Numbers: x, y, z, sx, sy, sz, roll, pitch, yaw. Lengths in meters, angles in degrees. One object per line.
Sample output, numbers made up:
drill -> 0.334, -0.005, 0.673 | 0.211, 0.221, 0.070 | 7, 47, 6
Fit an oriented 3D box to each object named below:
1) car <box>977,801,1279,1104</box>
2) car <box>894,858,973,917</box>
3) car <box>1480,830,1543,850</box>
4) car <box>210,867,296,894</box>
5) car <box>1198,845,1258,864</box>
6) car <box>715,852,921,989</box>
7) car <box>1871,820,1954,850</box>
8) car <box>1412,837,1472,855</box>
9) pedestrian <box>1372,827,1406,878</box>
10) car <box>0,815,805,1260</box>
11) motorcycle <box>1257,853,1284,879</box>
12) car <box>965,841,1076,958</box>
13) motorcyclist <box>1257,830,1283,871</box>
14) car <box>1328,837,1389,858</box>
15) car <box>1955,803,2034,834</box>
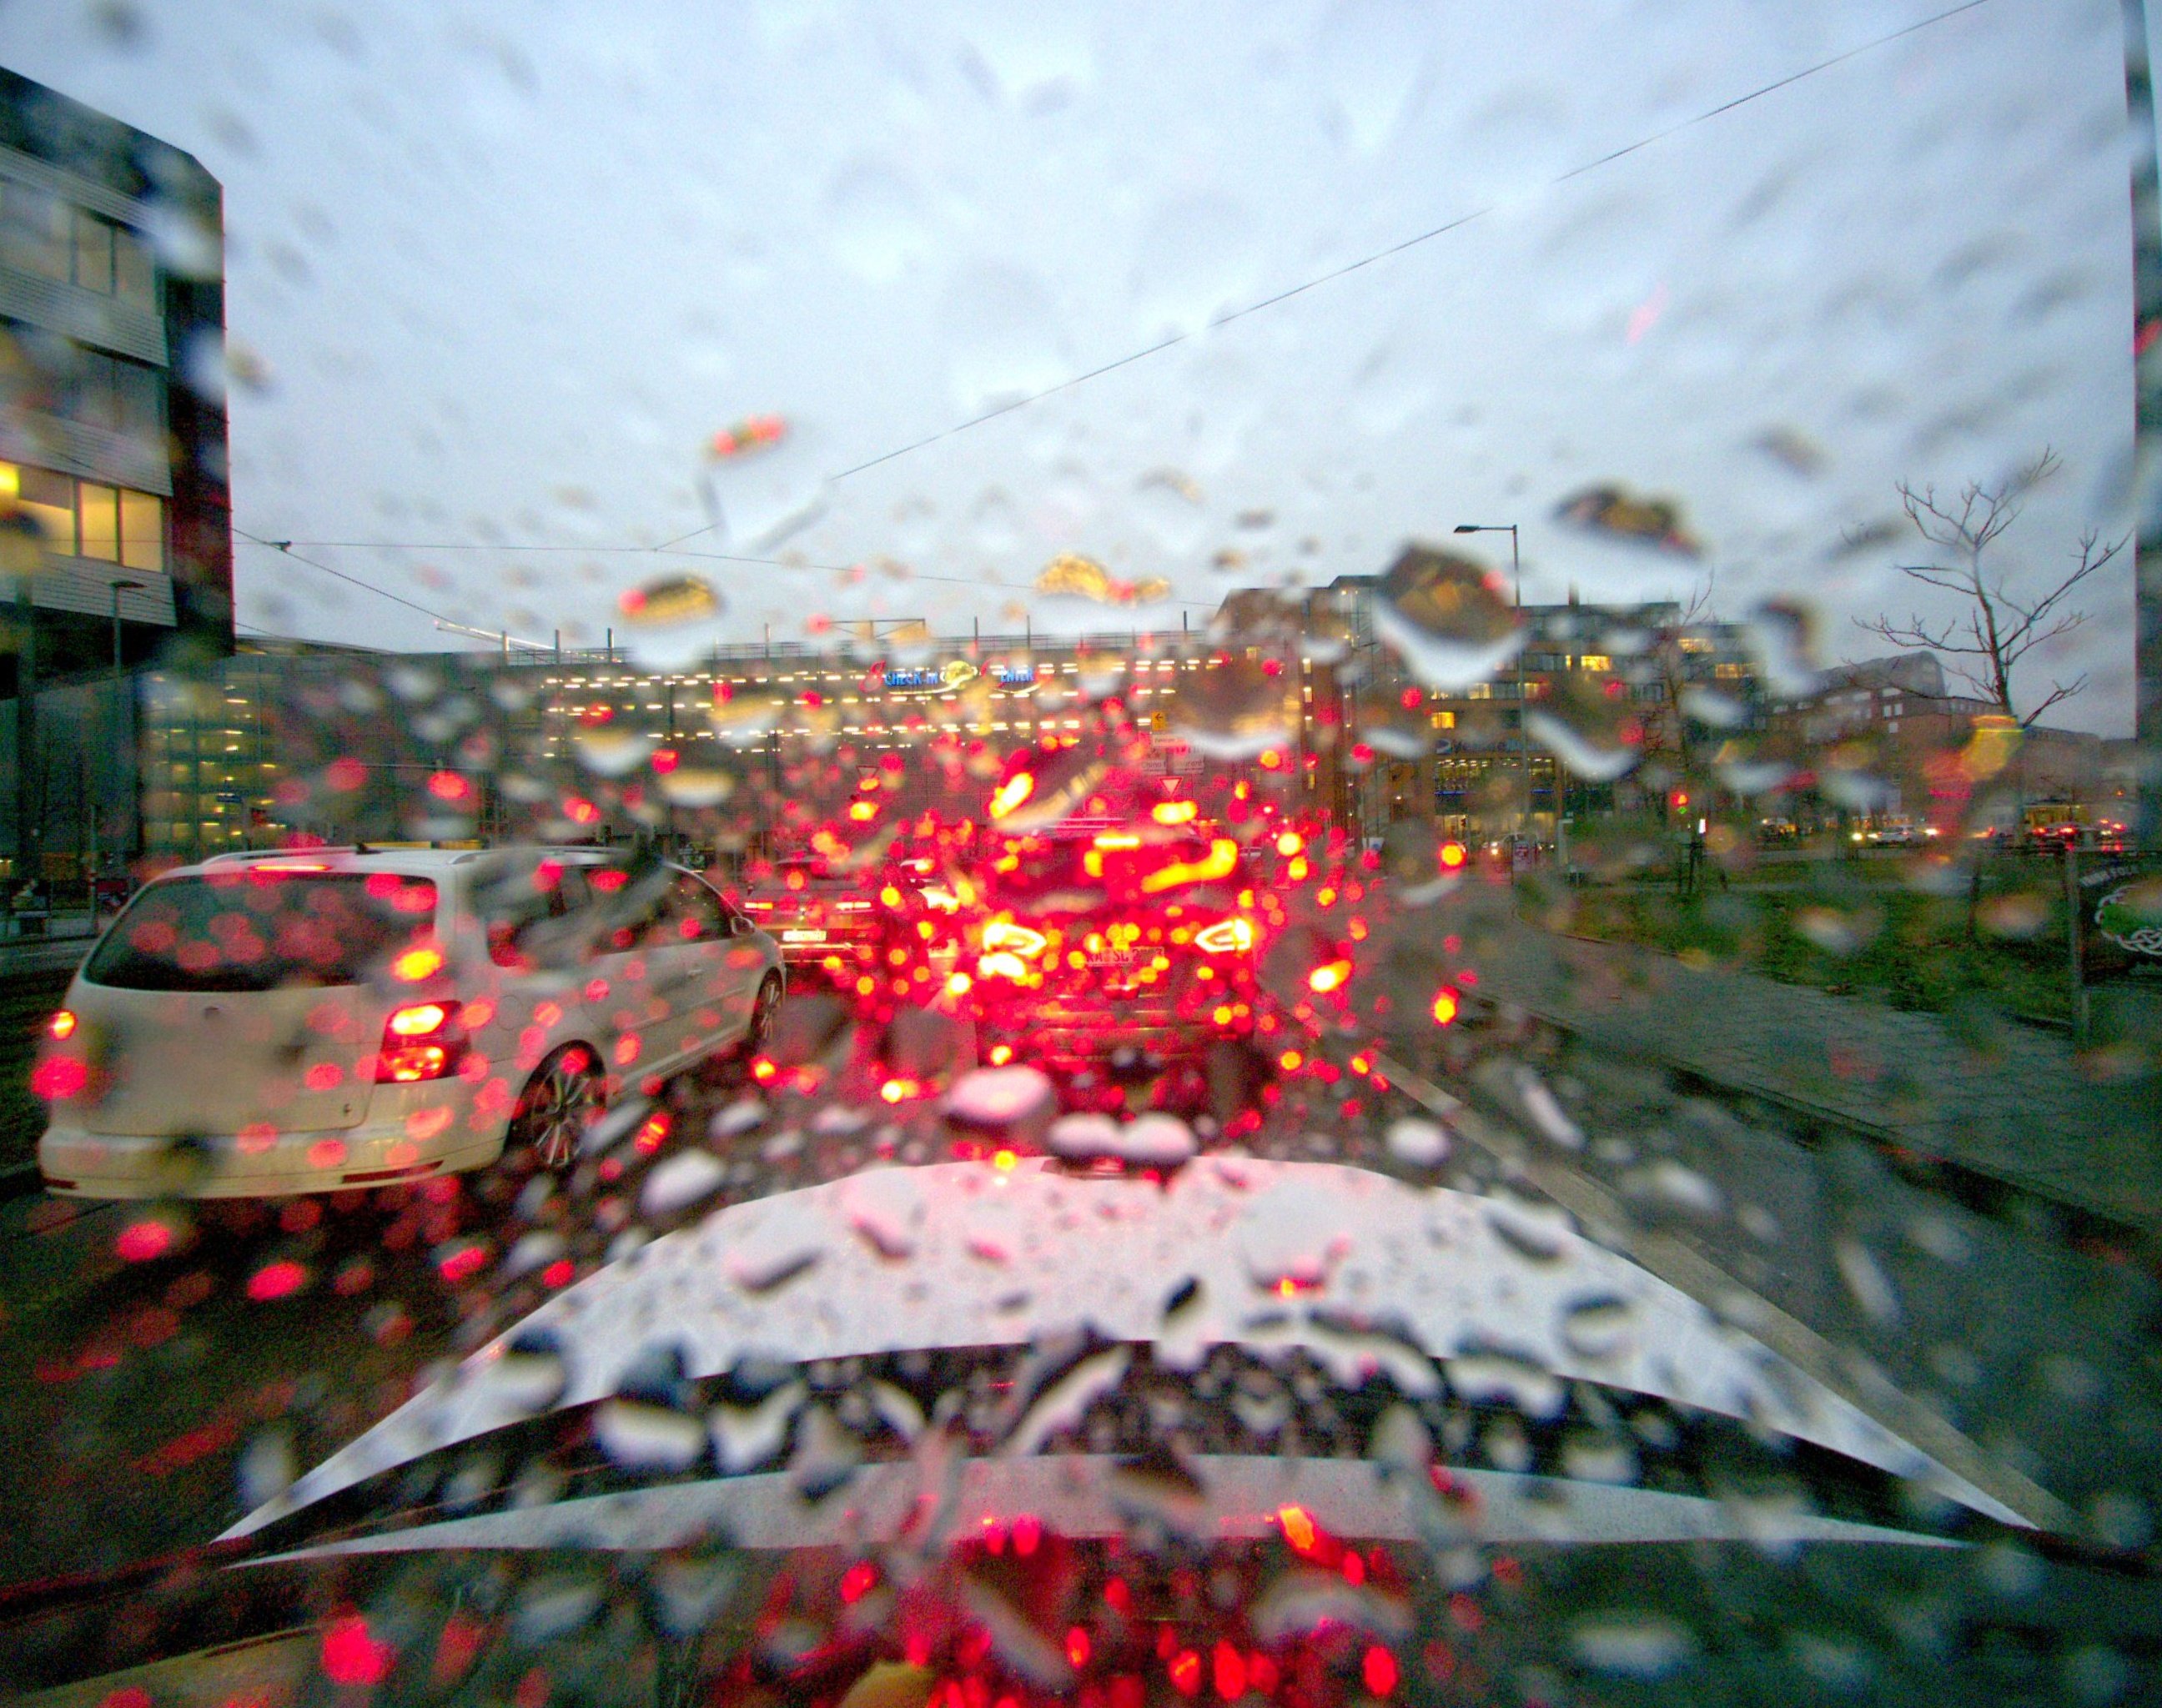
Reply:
car -> 0.264, 0.563, 6.820 | 1.730, 1.738, 4.246 | 1, 0, 0
car -> -3.456, 0.730, 19.662 | 1.538, 1.251, 4.059 | -1, 0, -6
car -> 36.349, -1.189, 68.784 | 4.425, 1.534, 1.796 | -2, 0, -6
car -> -67.267, 2.120, 66.241 | 4.831, 2.000, 1.797 | -2, 0, -5
car -> 11.884, 0.017, 66.056 | 4.413, 1.390, 1.796 | -2, 0, -6
car -> -3.533, 0.797, 11.732 | 1.748, 1.574, 3.997 | -2, 0, -2
car -> 56.666, -1.262, 55.527 | 3.985, 2.013, 1.994 | 0, 0, -9
car -> 30.016, -0.657, 67.833 | 4.209, 1.390, 1.796 | -2, 0, -6
pedestrian -> 11.913, -0.063, 31.507 | 1.159, 1.924, 0.904 | 1, 0, 25
car -> -3.277, 0.671, 5.125 | 1.665, 1.660, 4.147 | 1, 0, 0
motorcycle -> 7.336, 0.450, 31.611 | 0.848, 0.972, 1.585 | -2, 0, 7
car -> -0.969, 0.675, 13.873 | 1.632, 1.697, 3.667 | -1, 0, -3
motorcyclist -> 7.325, -0.125, 31.628 | 0.863, 1.534, 1.110 | -2, 0, 7
car -> 22.639, -0.531, 66.503 | 4.413, 1.595, 1.796 | -2, 0, -6
car -> 64.276, -2.434, 57.288 | 4.948, 2.013, 1.987 | 0, 0, -20
